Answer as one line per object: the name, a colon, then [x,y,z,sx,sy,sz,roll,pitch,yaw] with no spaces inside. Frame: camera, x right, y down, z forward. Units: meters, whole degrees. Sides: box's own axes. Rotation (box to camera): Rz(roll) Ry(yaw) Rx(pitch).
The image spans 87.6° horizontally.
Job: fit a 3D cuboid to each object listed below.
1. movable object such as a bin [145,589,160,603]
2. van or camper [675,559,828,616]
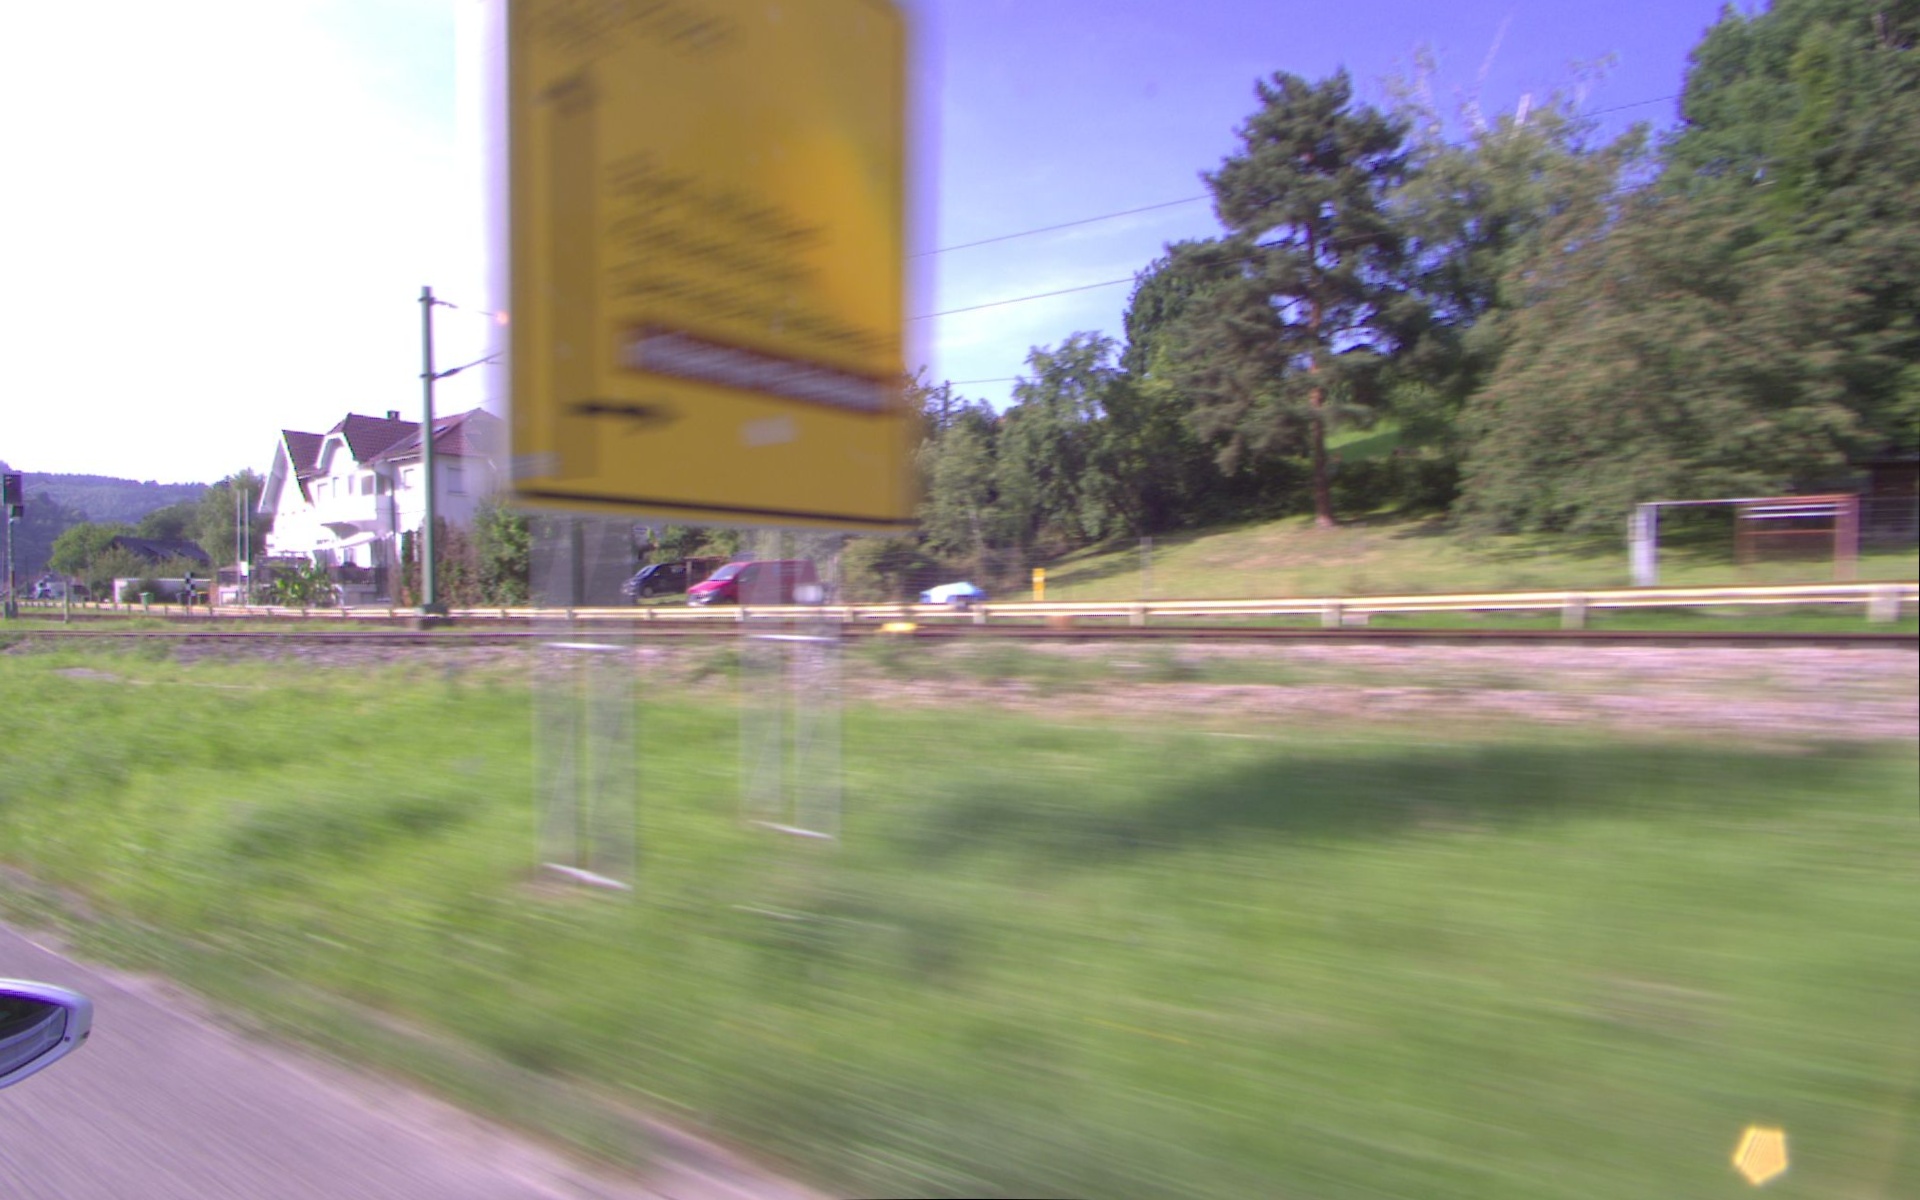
movable object such as a bin: [-63.771,-0.321,79.092,0.902,1.064,0.803,2,0,43]
van or camper: [-7.580,-0.511,36.995,2.095,1.955,5.390,1,2,40]
